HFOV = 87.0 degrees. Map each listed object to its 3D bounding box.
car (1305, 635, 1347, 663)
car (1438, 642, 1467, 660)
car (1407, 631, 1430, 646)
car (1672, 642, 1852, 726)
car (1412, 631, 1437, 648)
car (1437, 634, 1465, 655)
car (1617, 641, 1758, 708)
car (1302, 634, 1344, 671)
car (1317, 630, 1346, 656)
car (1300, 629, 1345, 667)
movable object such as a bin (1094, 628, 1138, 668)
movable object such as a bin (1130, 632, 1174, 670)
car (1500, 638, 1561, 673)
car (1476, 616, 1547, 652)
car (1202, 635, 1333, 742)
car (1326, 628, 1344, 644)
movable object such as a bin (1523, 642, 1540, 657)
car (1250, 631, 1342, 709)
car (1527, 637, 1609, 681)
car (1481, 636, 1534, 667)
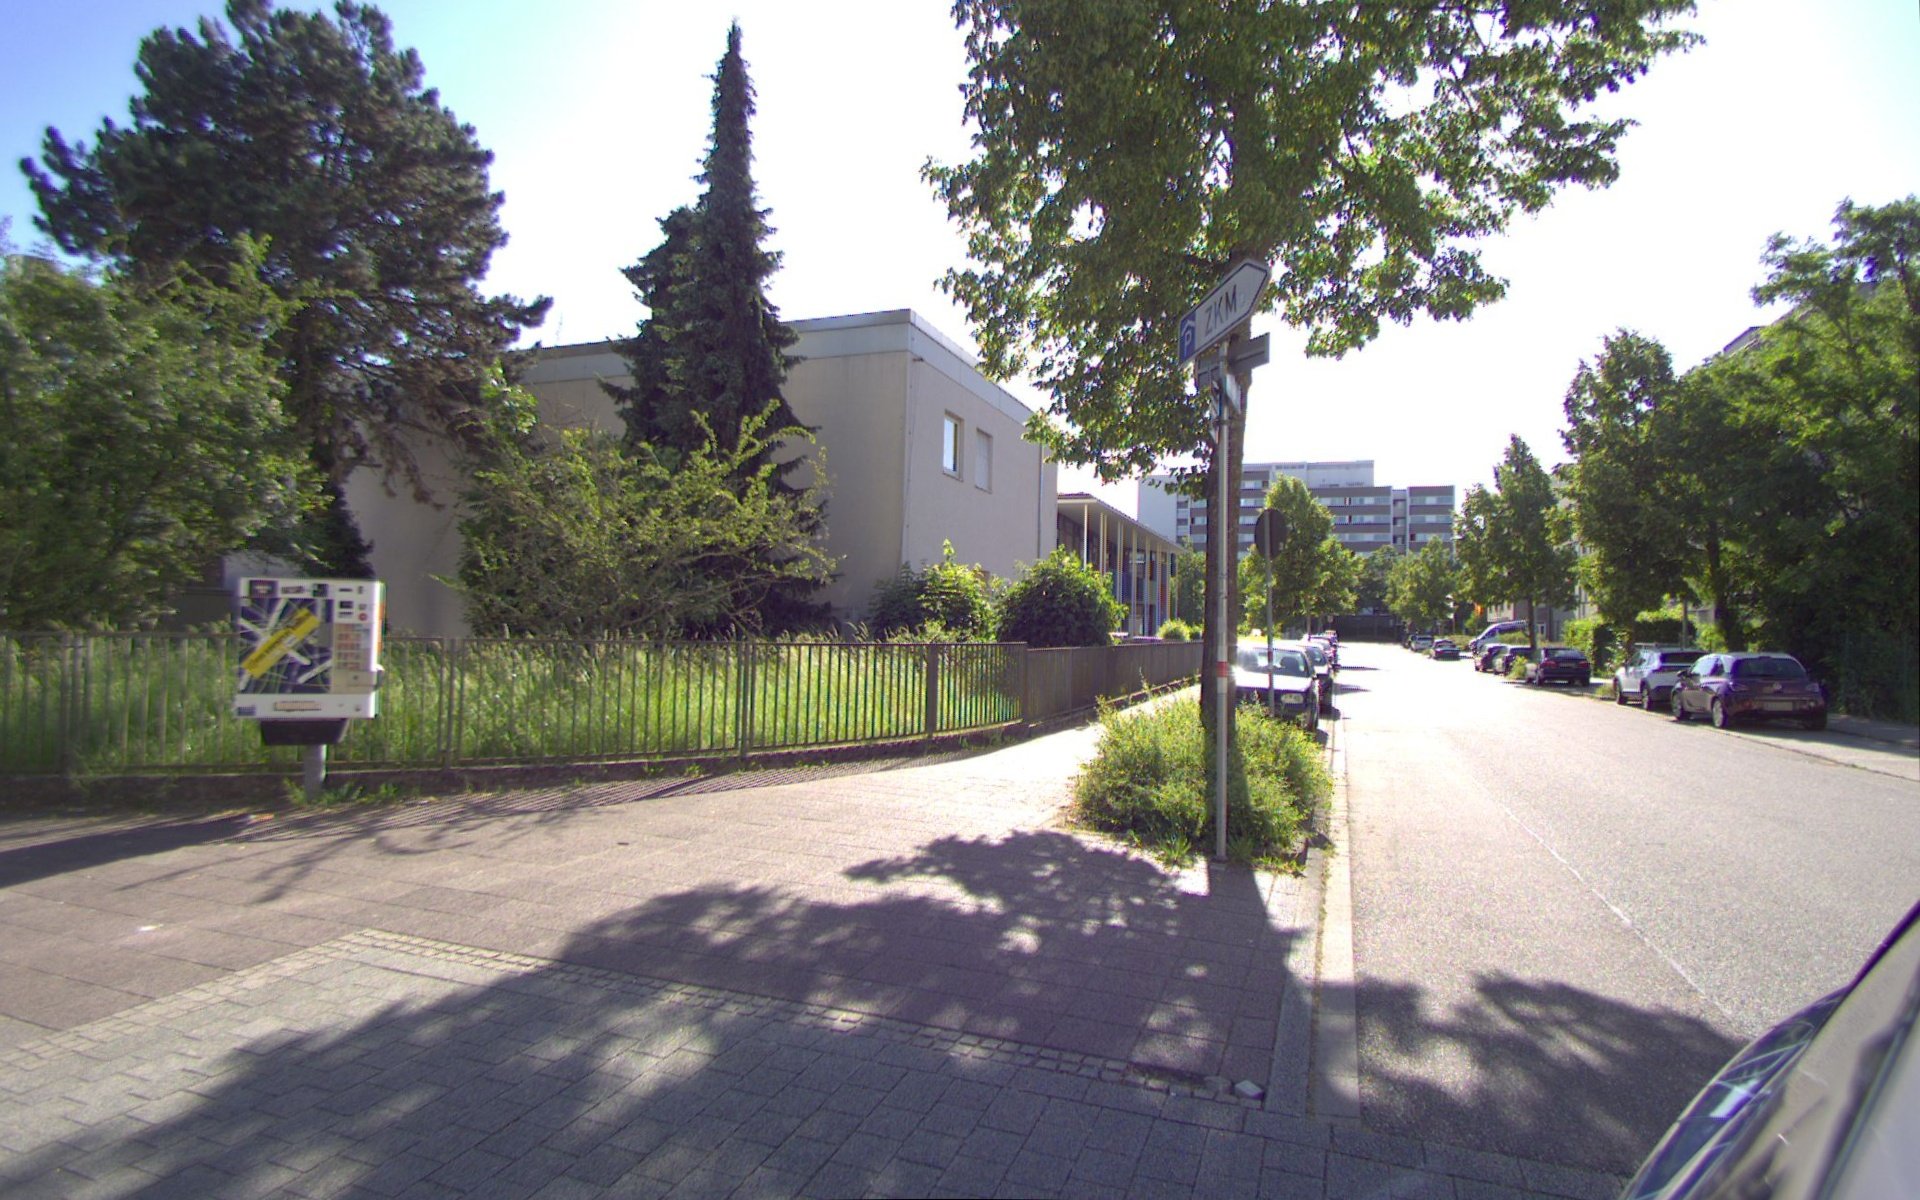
[{"bbox_3d":[20.411,2.698,56.627,1.943,1.336,4.747,3,-1,18],"label":"car"},{"bbox_3d":[36.139,3.734,74.312,1.613,1.264,3.536,0,-2,21],"label":"car"},{"bbox_3d":[48.145,3.997,106.282,1.773,1.538,3.865,-1,-2,18],"label":"car"},{"bbox_3d":[16.068,1.619,20.493,1.701,1.493,3.523,-2,-2,19],"label":"car"},{"bbox_3d":[44.896,3.799,97.898,1.773,1.620,3.865,-1,-2,18],"label":"car"},{"bbox_3d":[38.574,3.487,79.599,1.612,1.544,3.537,0,-2,20],"label":"car"},{"bbox_3d":[18.043,1.797,25.313,1.824,1.493,3.973,-2,-2,21],"label":"car"},{"bbox_3d":[16.044,2.279,44.706,1.660,1.523,3.819,0,-2,20],"label":"car"},{"bbox_3d":[26.916,3.086,73.275,1.803,1.668,4.456,4,0,21],"label":"car"},{"bbox_3d":[17.950,2.328,50.044,1.884,1.704,4.377,2,-1,22],"label":"car"},{"bbox_3d":[6.080,1.857,39.295,1.355,1.467,1.619,1,-2,22],"label":"movable object such as a bin"},{"bbox_3d":[7.372,1.920,38.712,1.355,1.375,1.619,1,-2,22],"label":"movable object such as a bin"},{"bbox_3d":[26.096,2.519,46.416,1.824,1.493,3.998,-2,-2,21],"label":"car"},{"bbox_3d":[47.522,2.914,87.328,5.087,2.940,2.002,1,-2,18],"label":"car"},{"bbox_3d":[5.217,1.346,16.792,1.731,1.440,4.391,0,-1,22],"label":"car"},{"bbox_3d":[38.946,3.732,105.035,1.626,1.485,3.677,4,1,21],"label":"car"},{"bbox_3d":[39.650,3.431,70.242,0.851,1.051,0.673,-3,-3,19],"label":"movable object such as a bin"},{"bbox_3d":[7.538,1.494,22.643,1.767,1.535,3.973,1,-2,20],"label":"car"},{"bbox_3d":[22.530,2.170,37.671,1.824,1.493,4.328,-2,-2,21],"label":"car"},{"bbox_3d":[28.095,2.617,52.014,1.824,1.493,4.070,-2,-2,21],"label":"car"}]
